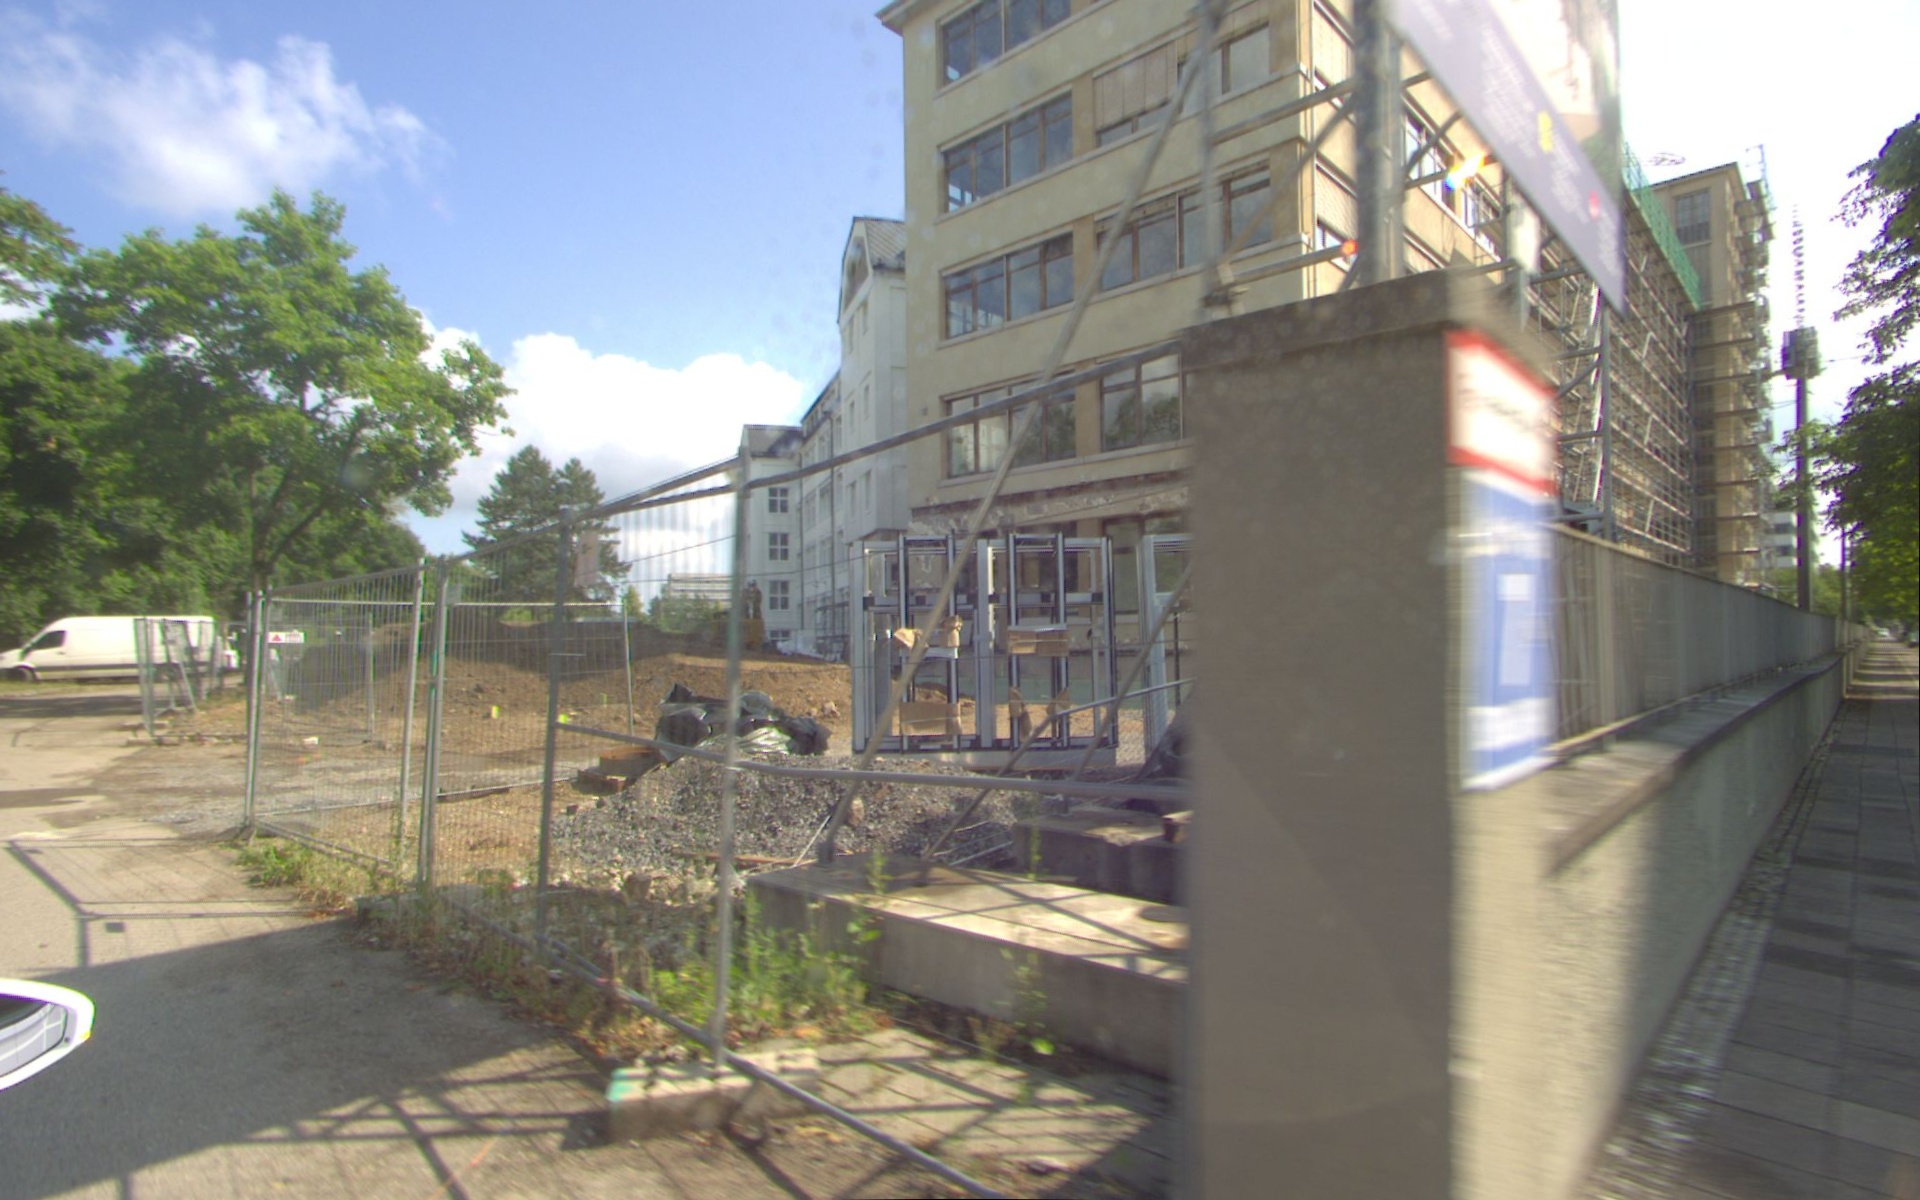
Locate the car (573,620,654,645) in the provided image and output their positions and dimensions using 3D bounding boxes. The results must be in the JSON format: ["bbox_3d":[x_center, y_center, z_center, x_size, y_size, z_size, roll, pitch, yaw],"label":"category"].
[{"bbox_3d":[-22.142,2.125,64.203,4.785,1.445,1.842,2,-4,-18],"label":"car"}]

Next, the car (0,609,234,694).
[{"bbox_3d":[-33.159,2.087,39.704,6.890,3.085,1.987,4,-3,-35],"label":"car"}]
